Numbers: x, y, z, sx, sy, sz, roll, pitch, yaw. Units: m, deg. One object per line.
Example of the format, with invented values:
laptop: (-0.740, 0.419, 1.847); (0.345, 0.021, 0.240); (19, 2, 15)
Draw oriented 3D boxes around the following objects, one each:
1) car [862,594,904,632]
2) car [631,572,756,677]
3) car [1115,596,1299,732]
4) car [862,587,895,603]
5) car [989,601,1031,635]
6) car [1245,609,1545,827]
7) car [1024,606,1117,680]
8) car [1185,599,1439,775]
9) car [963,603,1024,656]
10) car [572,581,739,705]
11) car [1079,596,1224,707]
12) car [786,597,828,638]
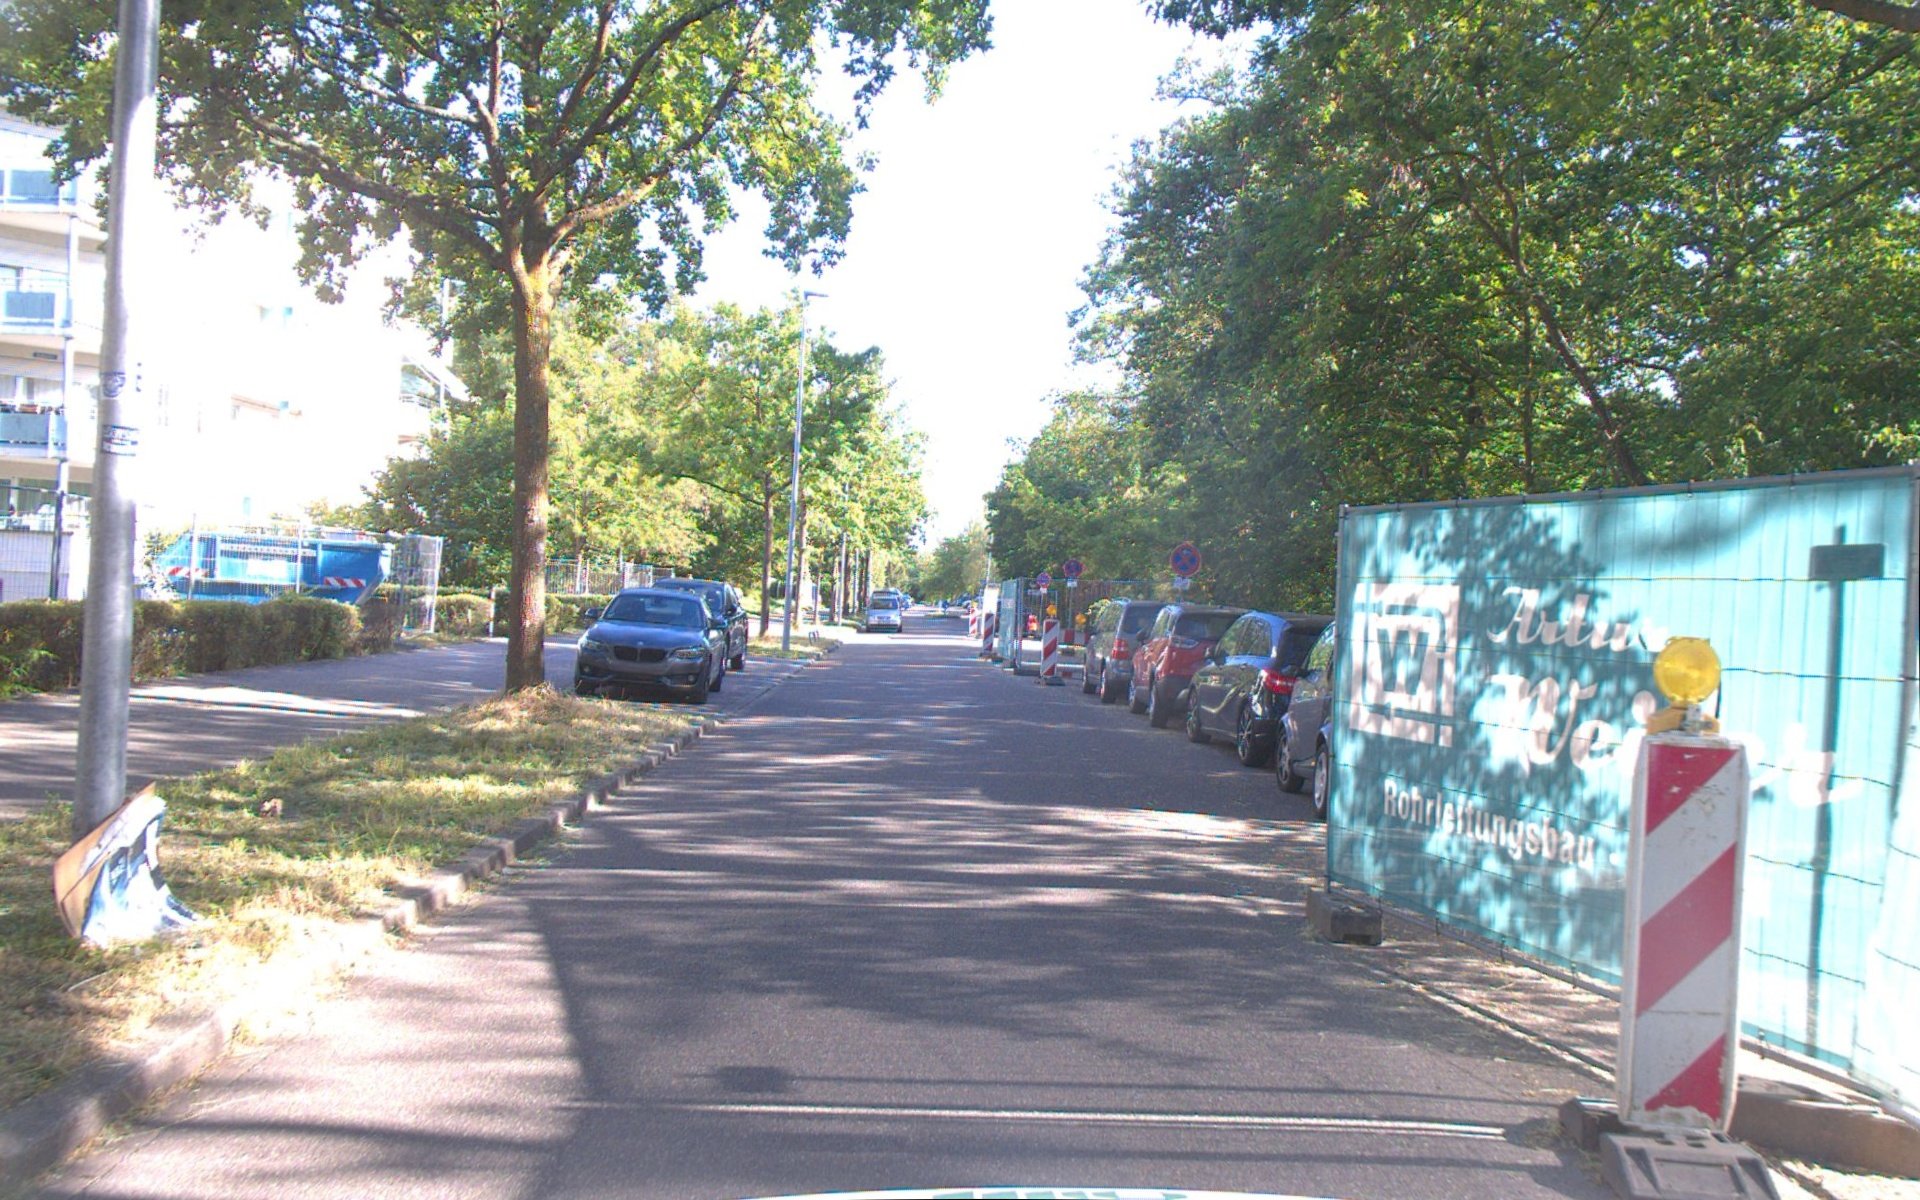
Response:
car: (-3.586, 0.605, 76.707); (1.677, 1.612, 3.995); (3, -1, -5)
car: (-4.766, 0.423, 29.980); (1.655, 1.704, 3.501); (3, 0, -1)
car: (3.259, 0.797, 22.477); (1.718, 1.623, 3.655); (3, 0, -3)
car: (-9.668, -0.599, 196.260); (3.646, 1.720, 1.576); (3, 0, -12)
car: (2.288, 0.792, 75.969); (1.757, 1.434, 4.000); (2, 0, 0)
car: (3.423, 0.867, 13.524); (1.471, 1.504, 3.056); (3, 0, -3)
car: (2.157, 0.837, 33.025); (1.335, 1.325, 3.478); (3, -1, -4)
car: (3.640, 0.837, 17.740); (1.718, 1.623, 3.655); (3, 0, -3)
car: (0.894, 0.813, 45.949); (1.335, 1.325, 3.478); (3, -1, -4)
car: (-4.124, 0.545, 22.934); (1.716, 1.504, 3.834); (3, 0, -3)
car: (3.066, 0.781, 27.150); (1.718, 1.623, 3.655); (3, 0, -3)
car: (-5.363, 0.621, 58.266); (1.335, 1.325, 3.478); (3, -1, -4)
